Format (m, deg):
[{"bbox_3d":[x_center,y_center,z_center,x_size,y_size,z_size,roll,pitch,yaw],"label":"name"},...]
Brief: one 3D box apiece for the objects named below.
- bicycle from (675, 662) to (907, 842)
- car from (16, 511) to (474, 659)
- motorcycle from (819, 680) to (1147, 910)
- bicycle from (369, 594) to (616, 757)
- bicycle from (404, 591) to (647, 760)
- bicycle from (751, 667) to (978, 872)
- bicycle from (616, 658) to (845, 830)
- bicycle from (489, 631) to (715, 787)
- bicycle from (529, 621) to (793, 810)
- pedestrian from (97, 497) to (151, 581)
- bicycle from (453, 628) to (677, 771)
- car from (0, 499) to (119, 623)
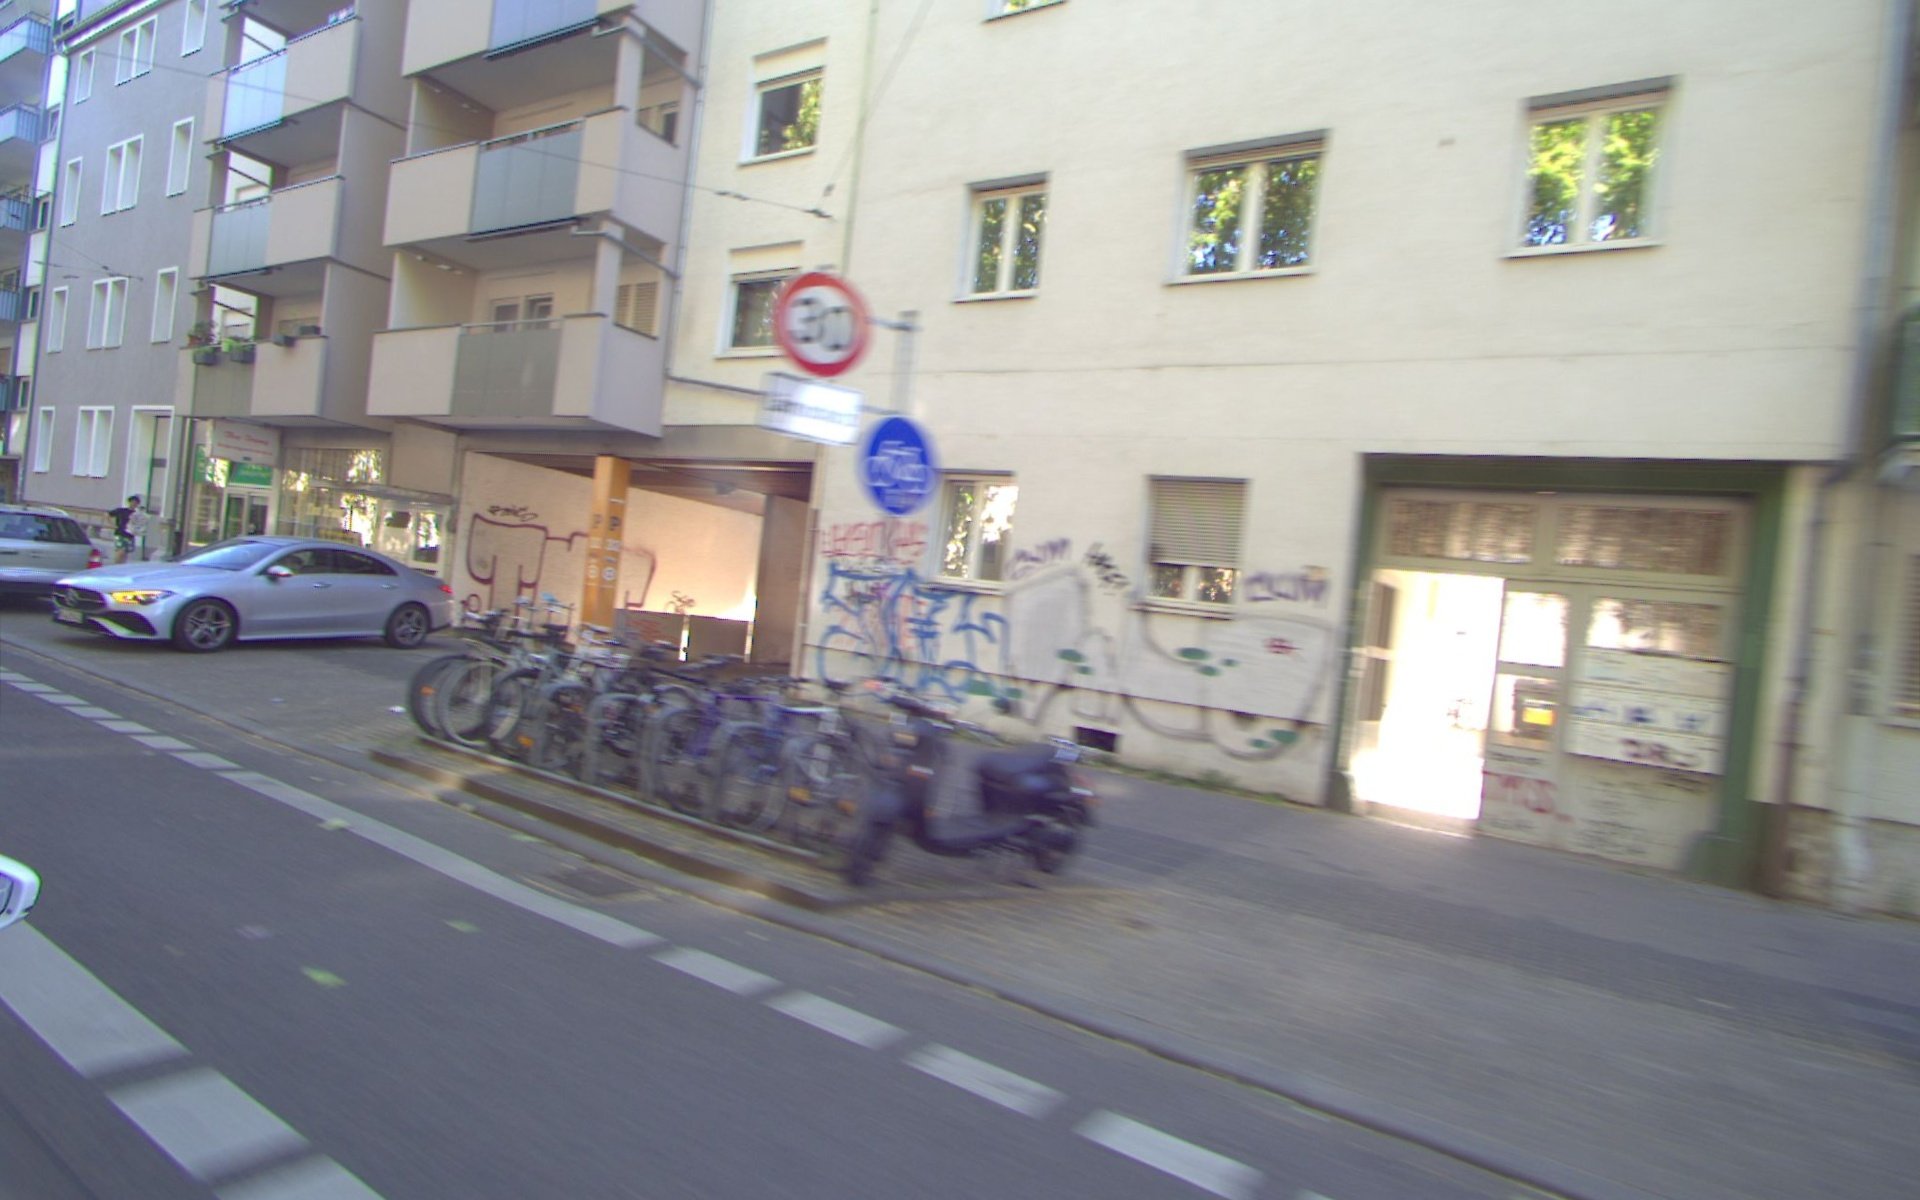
[{"bbox_3d":[-1.060,0.978,6.708,0.449,0.998,1.656,7,-2,32],"label":"bicycle"},{"bbox_3d":[-9.060,-0.119,13.323,1.830,1.456,4.625,7,1,21],"label":"car"},{"bbox_3d":[0.174,1.084,5.831,1.807,1.093,0.611,6,1,-35],"label":"motorcycle"},{"bbox_3d":[-3.886,0.612,8.537,0.449,1.207,1.893,7,2,32],"label":"bicycle"},{"bbox_3d":[-3.494,0.593,8.265,0.449,1.207,1.824,7,2,32],"label":"bicycle"},{"bbox_3d":[-0.548,1.001,6.420,0.449,1.069,1.653,7,2,32],"label":"bicycle"},{"bbox_3d":[-1.535,0.935,7.006,0.449,1.000,1.653,7,1,32],"label":"bicycle"},{"bbox_3d":[-2.692,0.788,7.736,0.449,1.034,1.653,7,1,32],"label":"bicycle"},{"bbox_3d":[-2.146,0.792,7.465,0.693,1.163,1.794,7,1,32],"label":"bicycle"},{"bbox_3d":[-18.280,-1.331,22.002,0.753,1.741,0.712,6,1,-41],"label":"pedestrian"},{"bbox_3d":[-3.080,0.748,8.005,0.449,0.979,1.653,7,1,32],"label":"bicycle"},{"bbox_3d":[-14.162,-0.719,14.607,4.440,1.544,1.726,6,0,34],"label":"car"}]
